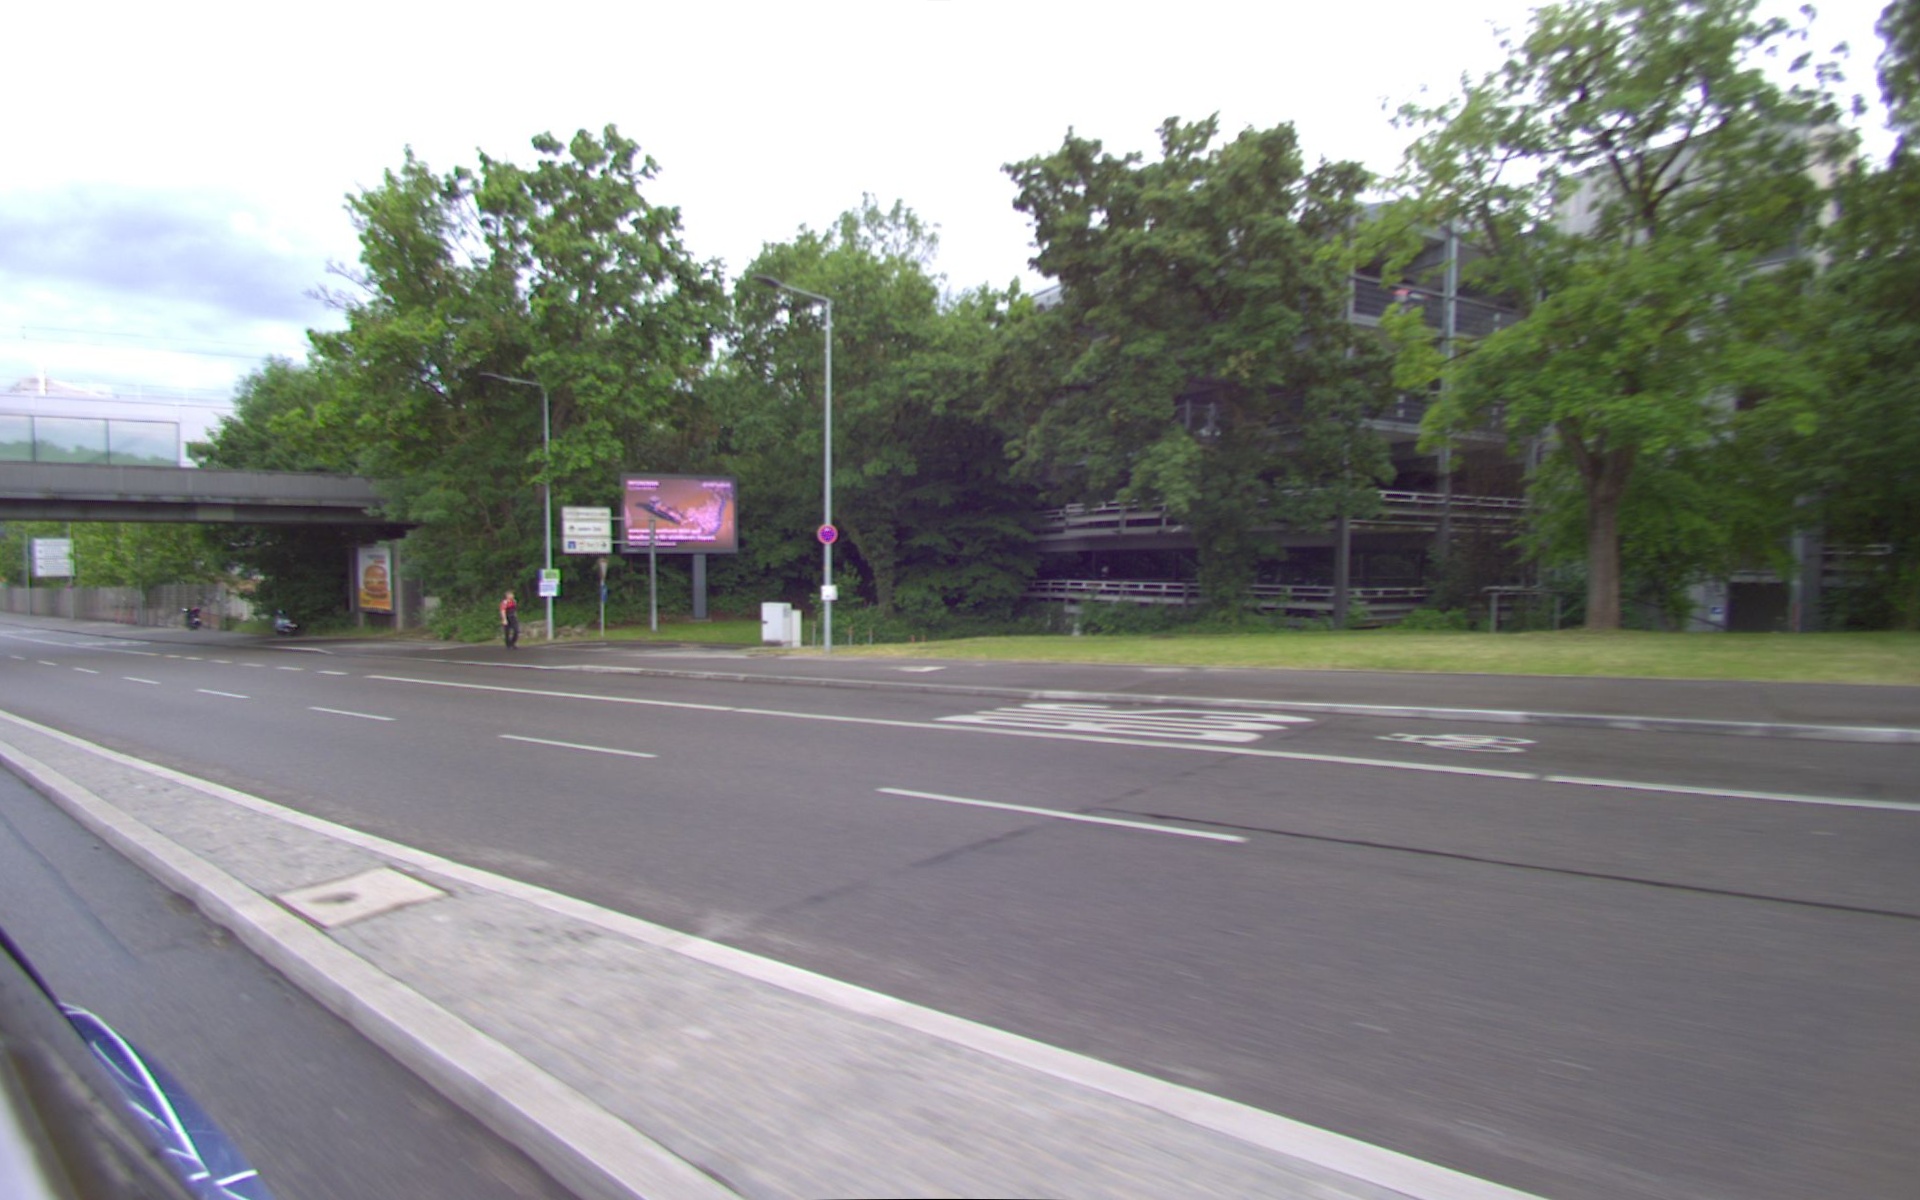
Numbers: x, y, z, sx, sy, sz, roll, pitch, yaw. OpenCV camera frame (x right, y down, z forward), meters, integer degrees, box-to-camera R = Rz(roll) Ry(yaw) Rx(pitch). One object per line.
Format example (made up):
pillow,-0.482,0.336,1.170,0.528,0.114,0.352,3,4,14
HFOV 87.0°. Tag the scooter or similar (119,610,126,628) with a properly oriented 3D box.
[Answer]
scooter or similar,-57.167,1.307,69.083,0.307,1.227,1.309,-1,0,-42

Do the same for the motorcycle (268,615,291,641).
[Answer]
motorcycle,-30.814,1.250,45.833,1.933,1.167,0.463,-1,0,44

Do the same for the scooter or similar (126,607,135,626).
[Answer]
scooter or similar,-55.335,1.083,67.499,0.308,1.227,1.309,-1,0,-44

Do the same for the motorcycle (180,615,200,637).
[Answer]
motorcycle,-43.372,1.453,56.983,1.995,1.214,0.464,-1,0,41

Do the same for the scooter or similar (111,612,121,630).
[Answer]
scooter or similar,-59.009,1.489,70.767,1.307,1.227,0.308,-1,0,41

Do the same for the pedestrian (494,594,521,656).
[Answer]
pedestrian,-13.632,0.750,30.478,0.513,1.829,0.801,-2,1,-39
